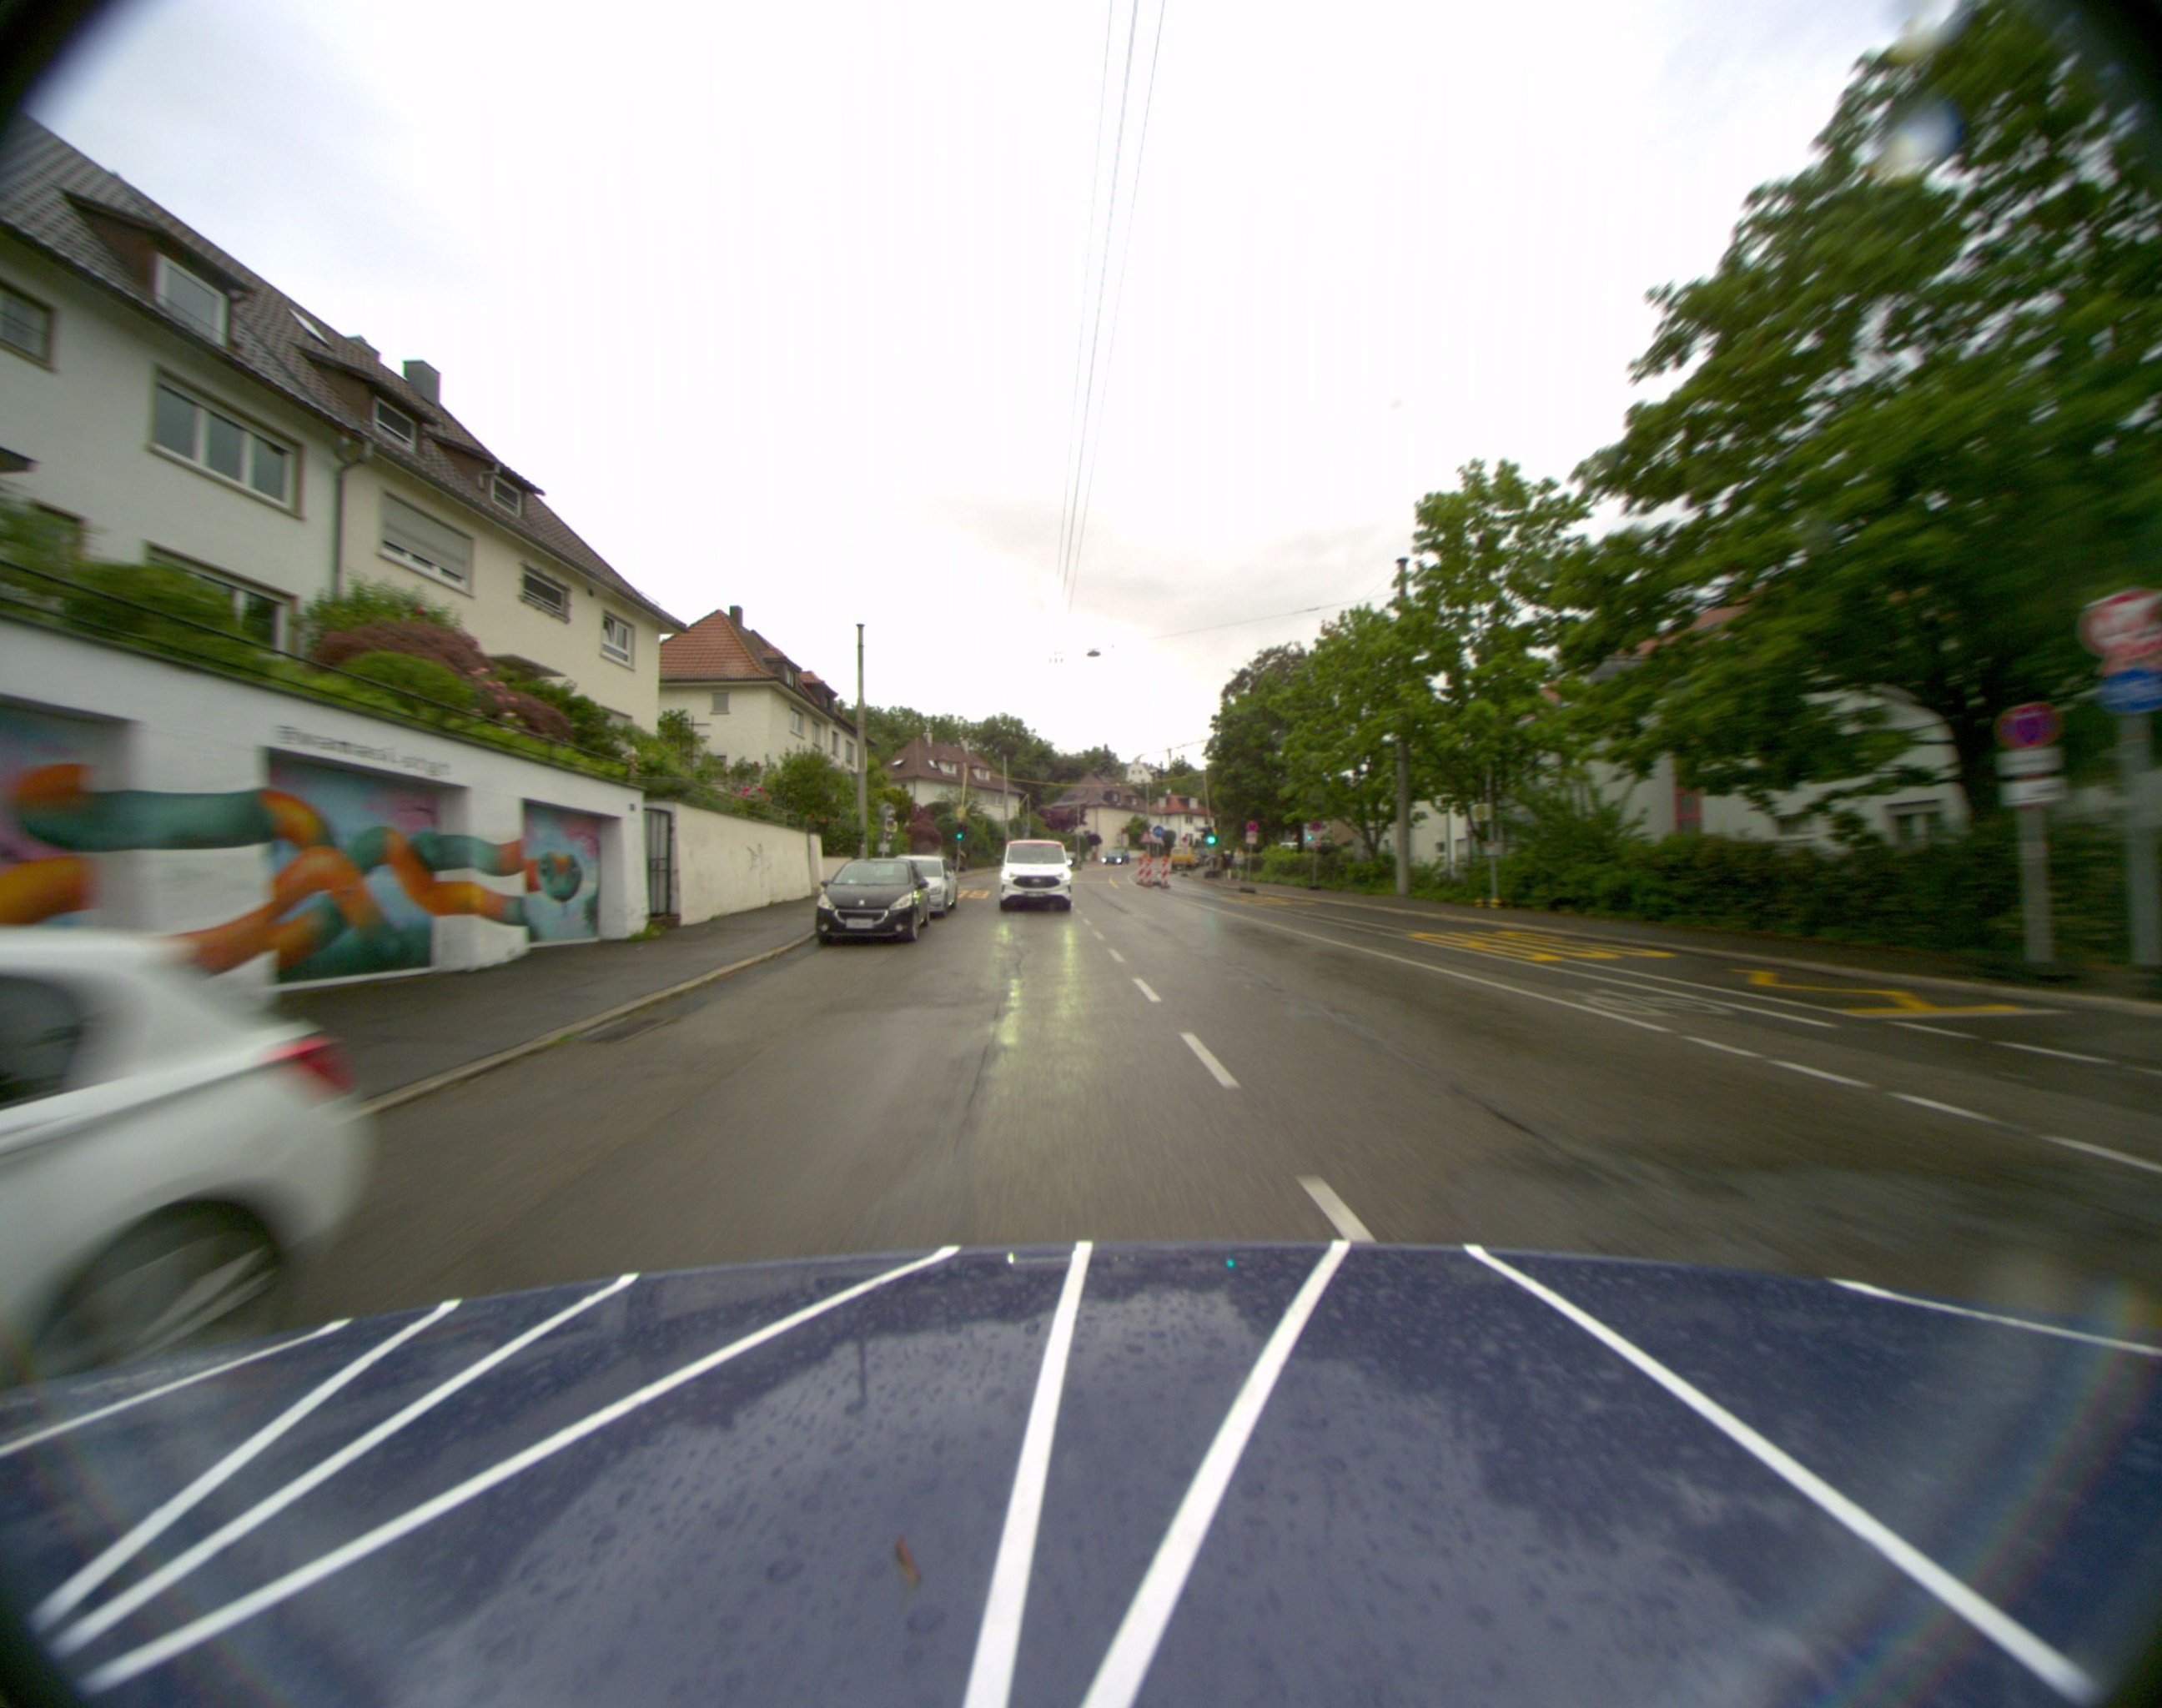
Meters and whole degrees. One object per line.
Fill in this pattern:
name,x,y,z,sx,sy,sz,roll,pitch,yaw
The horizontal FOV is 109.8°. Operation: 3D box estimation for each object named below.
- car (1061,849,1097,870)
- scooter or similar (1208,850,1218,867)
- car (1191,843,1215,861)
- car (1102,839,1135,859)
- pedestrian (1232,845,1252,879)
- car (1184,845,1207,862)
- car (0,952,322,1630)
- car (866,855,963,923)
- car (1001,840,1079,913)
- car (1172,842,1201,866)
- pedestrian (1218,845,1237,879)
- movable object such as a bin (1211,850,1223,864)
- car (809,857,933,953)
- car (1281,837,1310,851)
car,-0.121,0.403,58.402,1.987,1.428,4.518,-1,1,10
scooter or similar,10.566,0.342,60.597,0.399,1.253,1.319,-3,2,25
car,12.107,-0.227,75.321,1.722,1.599,4.468,0,1,17
car,3.837,-0.540,76.781,2.011,1.929,4.005,0,3,25
pedestrian,8.603,0.424,40.617,0.682,1.806,1.155,-1,0,-4
car,10.602,-0.063,70.217,1.576,1.446,3.468,1,2,17
car,-3.226,1.041,0.361,1.710,1.406,4.040,0,1,-1
car,-4.116,0.805,19.468,1.786,1.412,4.427,1,1,-4
car,-1.216,0.562,22.321,2.042,1.928,4.512,0,1,-4
car,9.007,-0.022,64.551,1.805,1.917,4.581,2,2,15
pedestrian,7.790,0.418,40.541,0.709,1.806,1.147,-1,0,-4
movable object such as a bin,10.678,0.237,59.662,0.860,1.134,0.713,0,3,13
car,-3.849,0.855,14.573,1.719,1.504,3.997,0,1,-7
car,28.748,-1.372,101.922,1.805,1.791,4.472,1,2,45
